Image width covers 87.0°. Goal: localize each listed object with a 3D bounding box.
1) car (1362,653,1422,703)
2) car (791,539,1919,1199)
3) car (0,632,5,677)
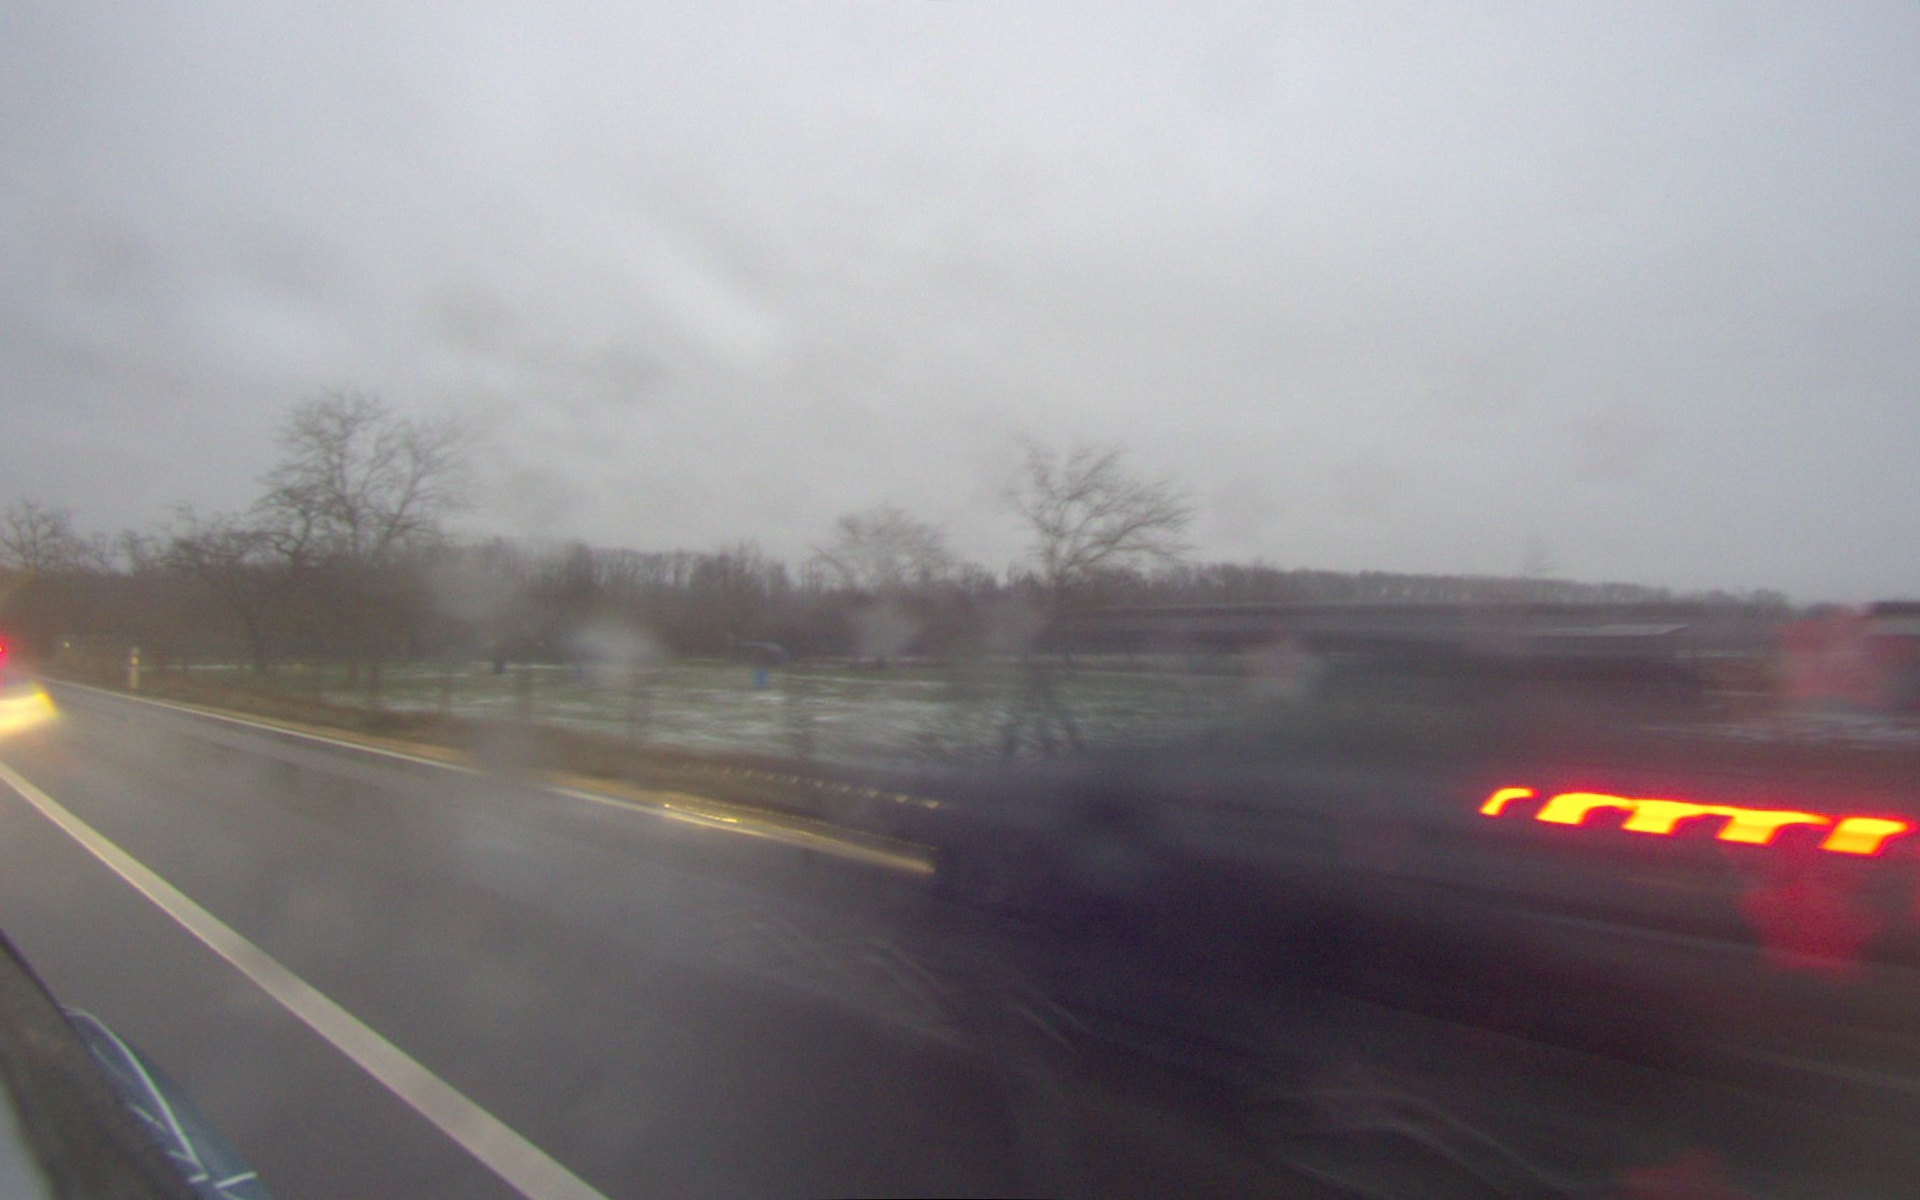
[{"bbox_3d":[14.084,2.485,32.916,1.591,1.352,3.421,-1,0,27],"label":"car"},{"bbox_3d":[1.432,0.736,3.196,3.998,1.567,1.743,-2,-3,41],"label":"car"},{"bbox_3d":[-34.660,1.842,34.914,4.511,1.529,1.837,-2,-4,39],"label":"car"}]
